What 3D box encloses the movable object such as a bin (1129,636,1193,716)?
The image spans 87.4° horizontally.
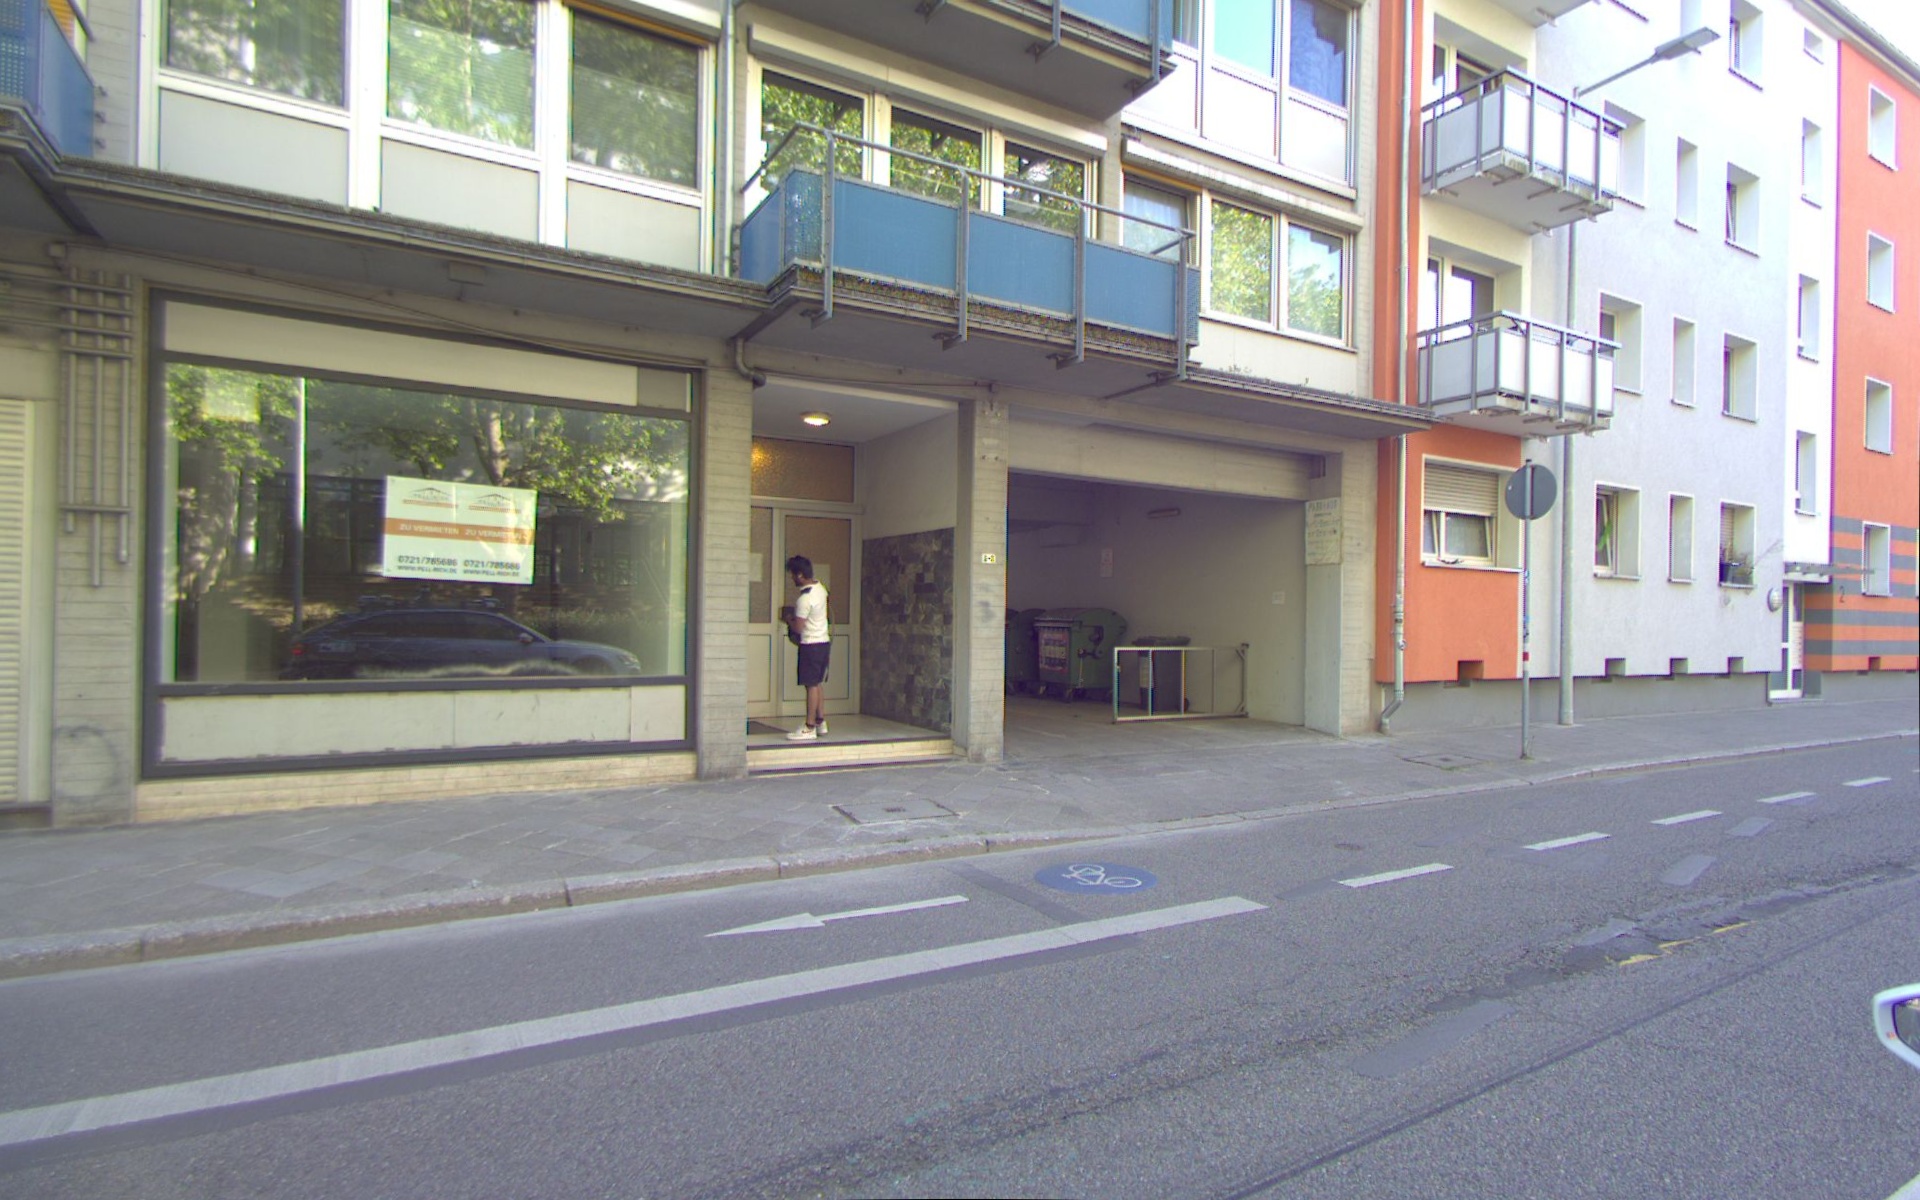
[{"bbox_3d":[2.893,1.085,14.489,0.713,1.094,0.533,2,0,-29],"label":"movable object such as a bin"}]

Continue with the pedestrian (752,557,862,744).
[{"bbox_3d":[-1.401,0.454,9.342,0.820,1.639,0.794,2,0,3],"label":"pedestrian"}]

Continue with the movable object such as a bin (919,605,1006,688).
[{"bbox_3d":[0.035,0.846,18.698,1.120,1.444,1.268,2,0,-28],"label":"movable object such as a bin"}]

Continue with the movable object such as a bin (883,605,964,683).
[{"bbox_3d":[-0.736,0.850,19.790,1.120,1.444,1.268,2,0,-28],"label":"movable object such as a bin"}]

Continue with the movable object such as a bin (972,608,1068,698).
[{"bbox_3d":[1.013,0.884,17.155,1.120,1.444,1.268,2,0,-28],"label":"movable object such as a bin"}]

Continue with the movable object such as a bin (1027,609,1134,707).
[{"bbox_3d":[1.881,0.886,15.813,1.120,1.444,1.268,2,0,-28],"label":"movable object such as a bin"}]
